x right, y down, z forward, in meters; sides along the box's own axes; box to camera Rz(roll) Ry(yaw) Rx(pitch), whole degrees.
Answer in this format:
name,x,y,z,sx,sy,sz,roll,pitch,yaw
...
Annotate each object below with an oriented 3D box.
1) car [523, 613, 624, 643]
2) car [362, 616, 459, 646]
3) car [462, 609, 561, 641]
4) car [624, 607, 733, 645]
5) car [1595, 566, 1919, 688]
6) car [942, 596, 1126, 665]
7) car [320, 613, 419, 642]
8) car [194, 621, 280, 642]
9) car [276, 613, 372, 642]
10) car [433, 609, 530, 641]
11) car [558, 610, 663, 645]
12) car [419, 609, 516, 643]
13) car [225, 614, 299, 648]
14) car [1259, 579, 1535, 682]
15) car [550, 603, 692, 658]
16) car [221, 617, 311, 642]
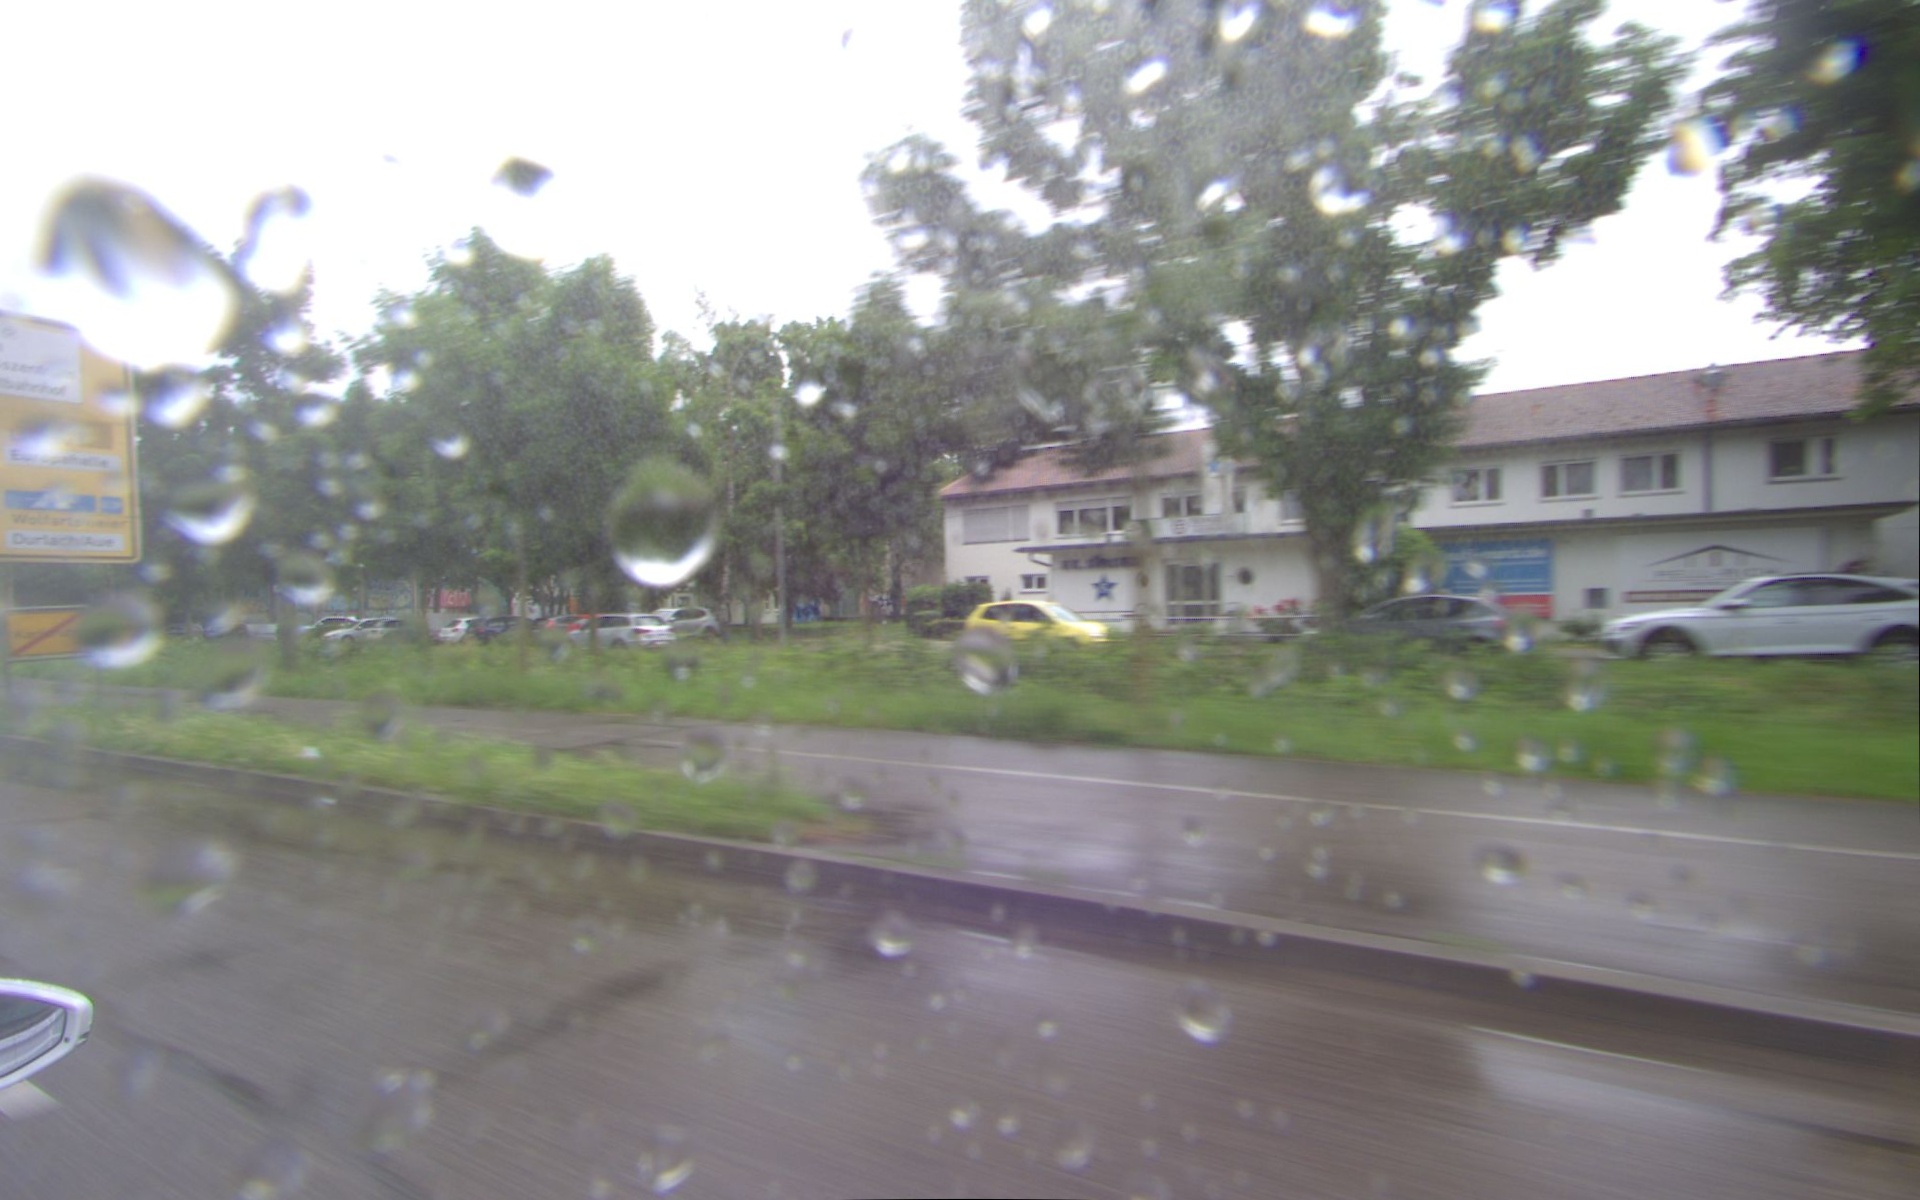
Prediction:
name,x,y,z,sx,sy,sz,roll,pitch,yaw
car,-17.935,1.319,46.592,1.840,1.357,4.174,-1,-2,30
car,-30.265,1.712,55.289,1.917,1.577,4.329,-1,-2,30
car,-21.827,1.246,48.893,1.765,1.478,4.123,-1,-2,33
car,-11.823,1.116,42.335,1.896,1.522,4.329,-1,-2,30
car,12.940,0.412,15.865,4.809,1.740,1.989,-2,0,32
car,1.699,0.735,23.412,4.015,1.505,1.635,-2,-2,32
car,-33.939,1.620,57.622,1.921,1.577,4.555,-2,-2,37
car,-48.502,2.118,67.270,1.810,1.351,4.396,-1,-2,28
car,-38.538,1.690,60.762,1.970,1.727,4.565,-1,-2,30
car,-24.191,1.295,50.782,1.735,1.502,4.184,-1,-2,30
car,-15.776,1.259,45.396,1.917,1.502,4.329,-1,-2,30
car,-26.202,1.407,53.376,1.917,1.746,4.329,-1,-2,30
car,-33.806,1.479,48.483,4.067,1.465,1.738,1,2,37
car,8.273,0.564,19.065,4.576,1.740,1.989,-2,0,32
car,-11.081,0.999,32.623,4.579,1.647,1.988,-2,0,34
car,-45.663,1.936,65.977,1.835,1.566,4.567,-1,-2,28
